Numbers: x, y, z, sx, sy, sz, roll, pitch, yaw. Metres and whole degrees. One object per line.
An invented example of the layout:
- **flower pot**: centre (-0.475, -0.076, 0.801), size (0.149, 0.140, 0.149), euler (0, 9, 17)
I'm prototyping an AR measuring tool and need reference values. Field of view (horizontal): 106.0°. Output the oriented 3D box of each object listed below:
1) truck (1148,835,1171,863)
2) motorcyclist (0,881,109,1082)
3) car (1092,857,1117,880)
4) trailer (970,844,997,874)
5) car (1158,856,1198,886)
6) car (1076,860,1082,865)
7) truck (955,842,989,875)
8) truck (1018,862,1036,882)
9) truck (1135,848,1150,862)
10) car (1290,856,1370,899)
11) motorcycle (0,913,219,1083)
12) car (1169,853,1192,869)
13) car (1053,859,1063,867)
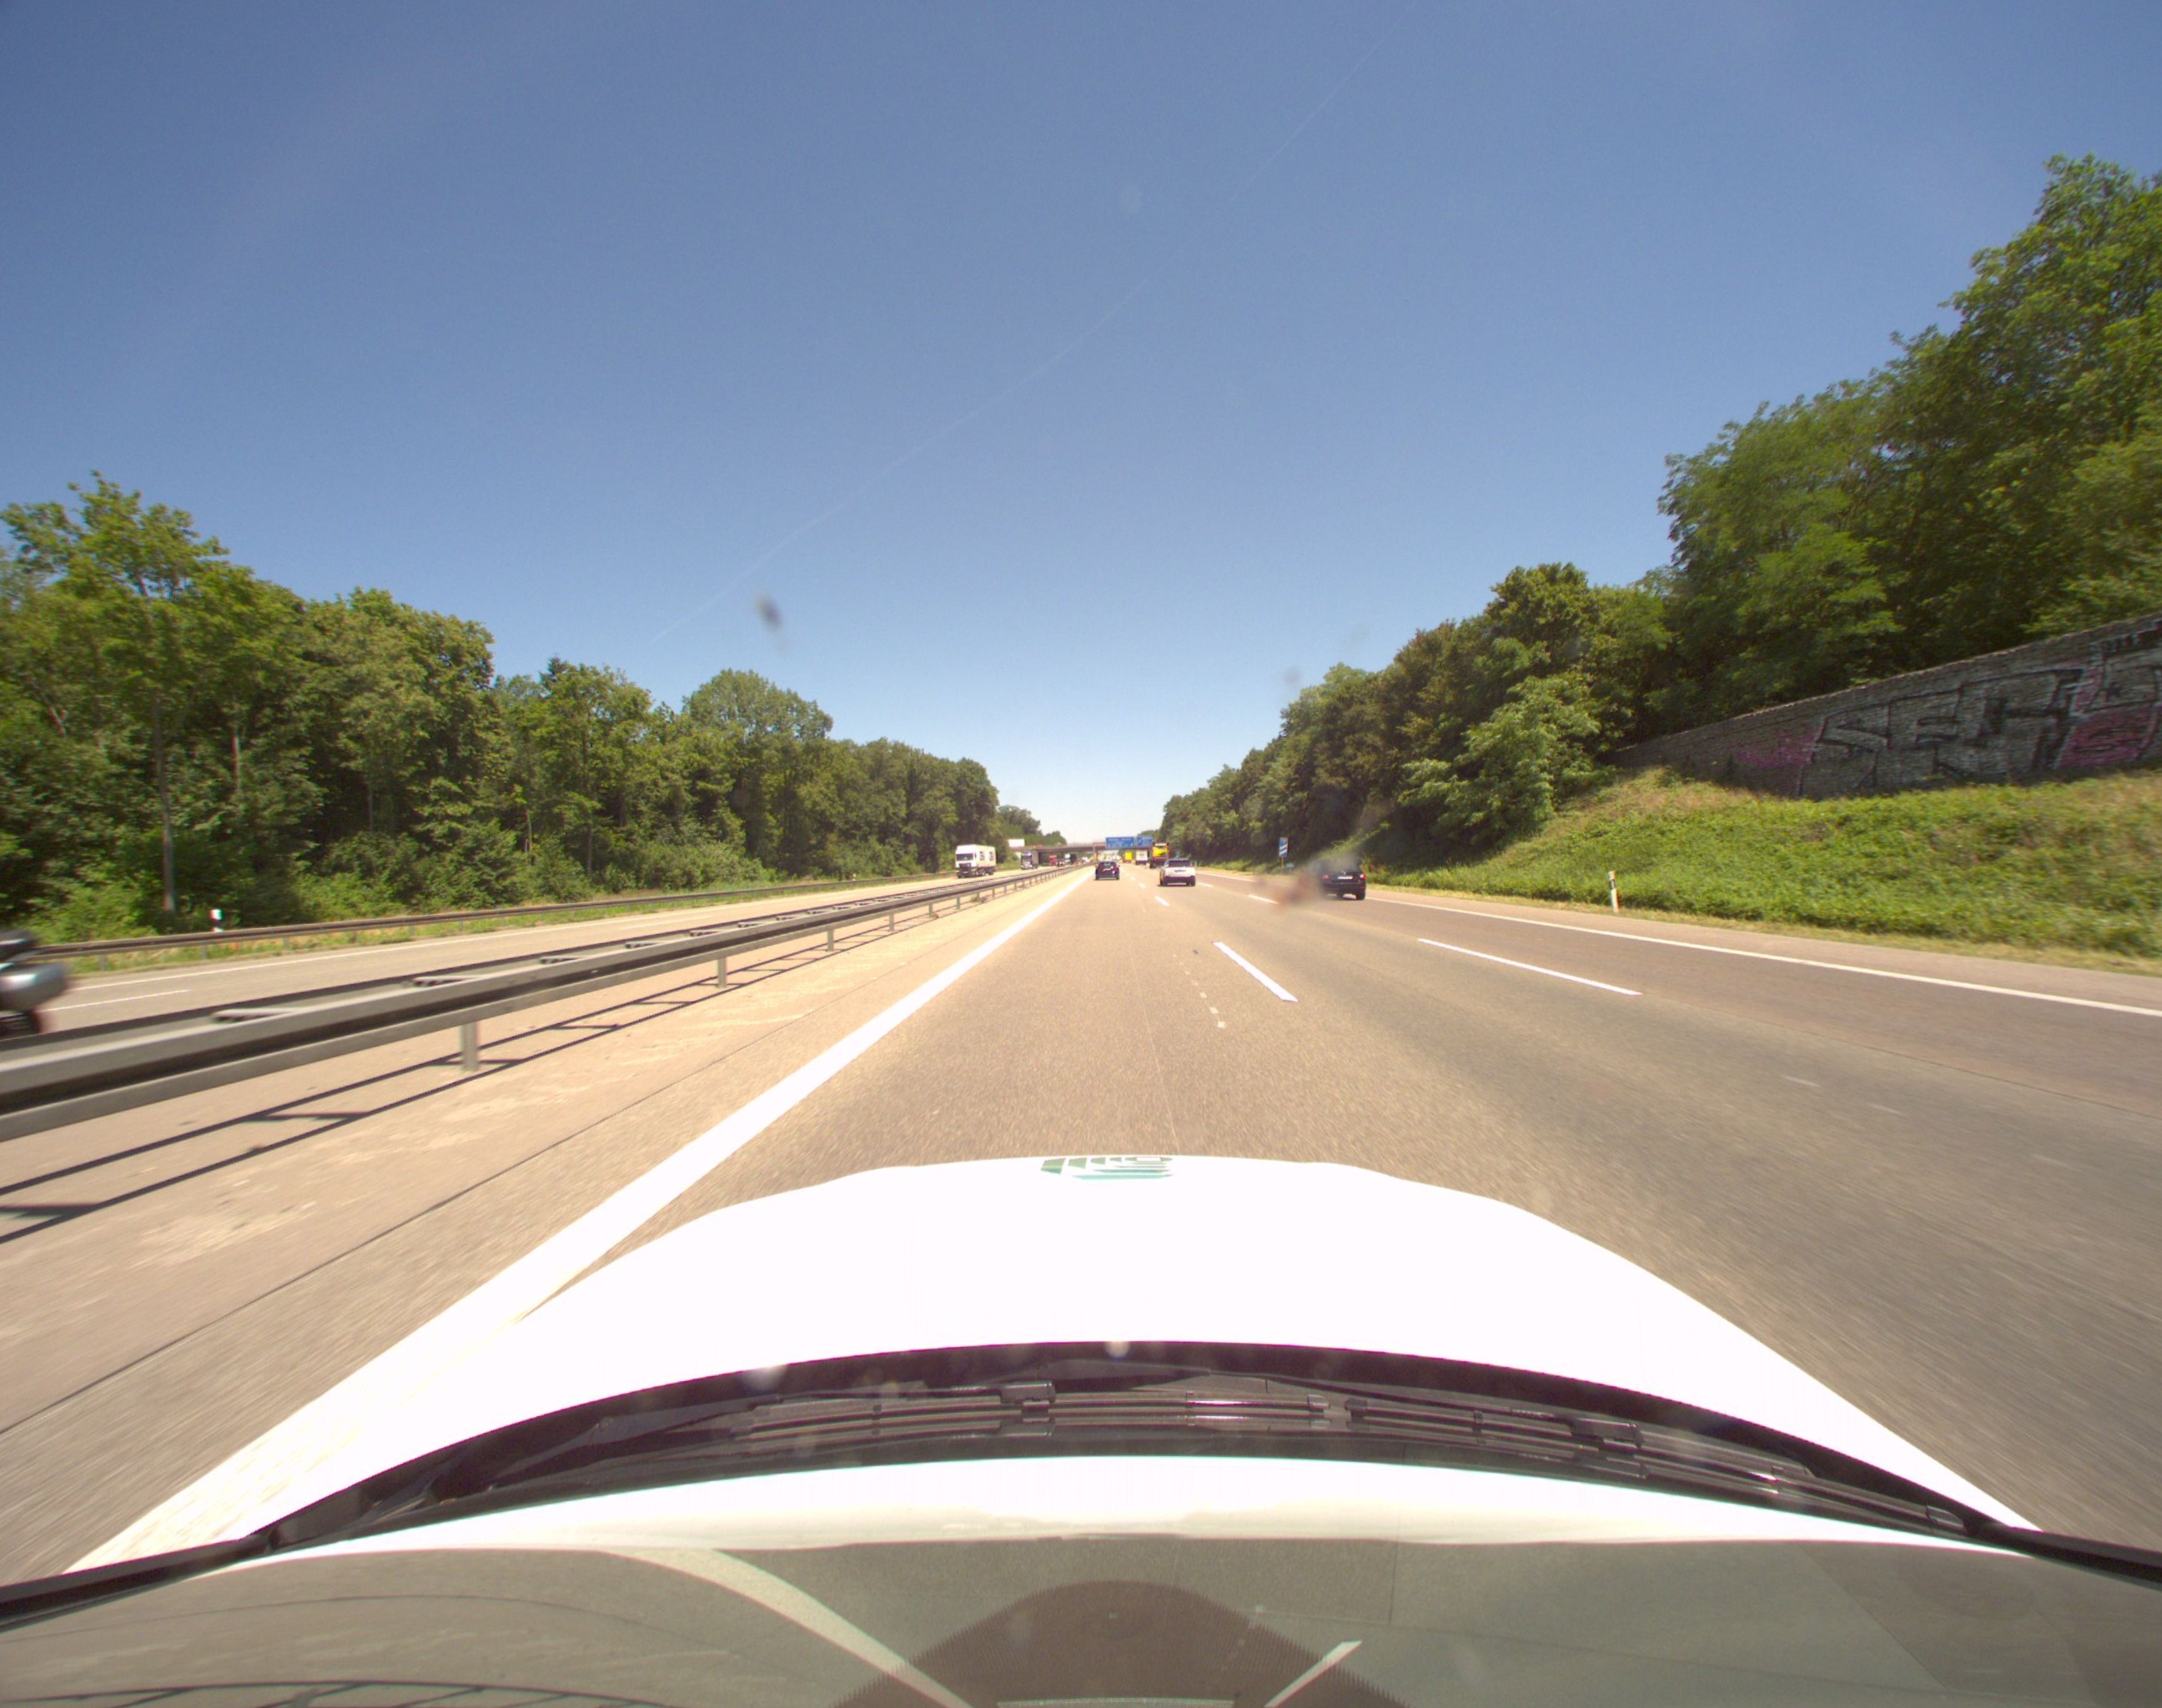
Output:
- **truck**: centre (11.948, -0.683, 125.021), size (2.963, 4.037, 10.986), euler (0, -1, 2)
- **motorcyclist**: centre (-9.224, 1.040, 6.704), size (1.037, 1.599, 1.151), euler (0, -1, 1)
- **car**: centre (1.770, 1.065, 61.058), size (1.820, 1.706, 4.001), euler (0, -1, 2)
- **trailer**: centre (-13.552, 0.704, 113.929), size (2.569, 3.989, 8.562), euler (0, -1, 2)
- **car**: centre (5.460, 0.945, 46.284), size (1.820, 1.608, 4.810), euler (-1, -1, 2)
- **car**: centre (-0.652, 2.507, 251.355), size (1.724, 1.585, 4.648), euler (0, -1, 3)
- **truck**: centre (-13.868, 0.622, 104.472), size (2.571, 4.008, 10.342), euler (0, -1, 2)
- **truck**: centre (-11.957, 3.941, 179.565), size (3.311, 4.342, 6.615), euler (0, -1, 2)
- **truck**: centre (14.870, 0.296, 196.405), size (3.013, 3.319, 10.789), euler (-1, -1, 6)
- **car**: centre (9.044, 0.806, 29.947), size (1.663, 1.447, 4.575), euler (0, -1, 2)
- **motorcycle**: centre (-9.197, 1.216, 6.876), size (1.031, 1.267, 2.578), euler (0, -1, 2)
- **car**: centre (9.914, 0.710, 81.445), size (1.863, 1.556, 4.203), euler (0, -1, 2)
- **car**: centre (-5.920, 2.356, 209.424), size (1.986, 2.013, 5.361), euler (-4, -1, 2)
